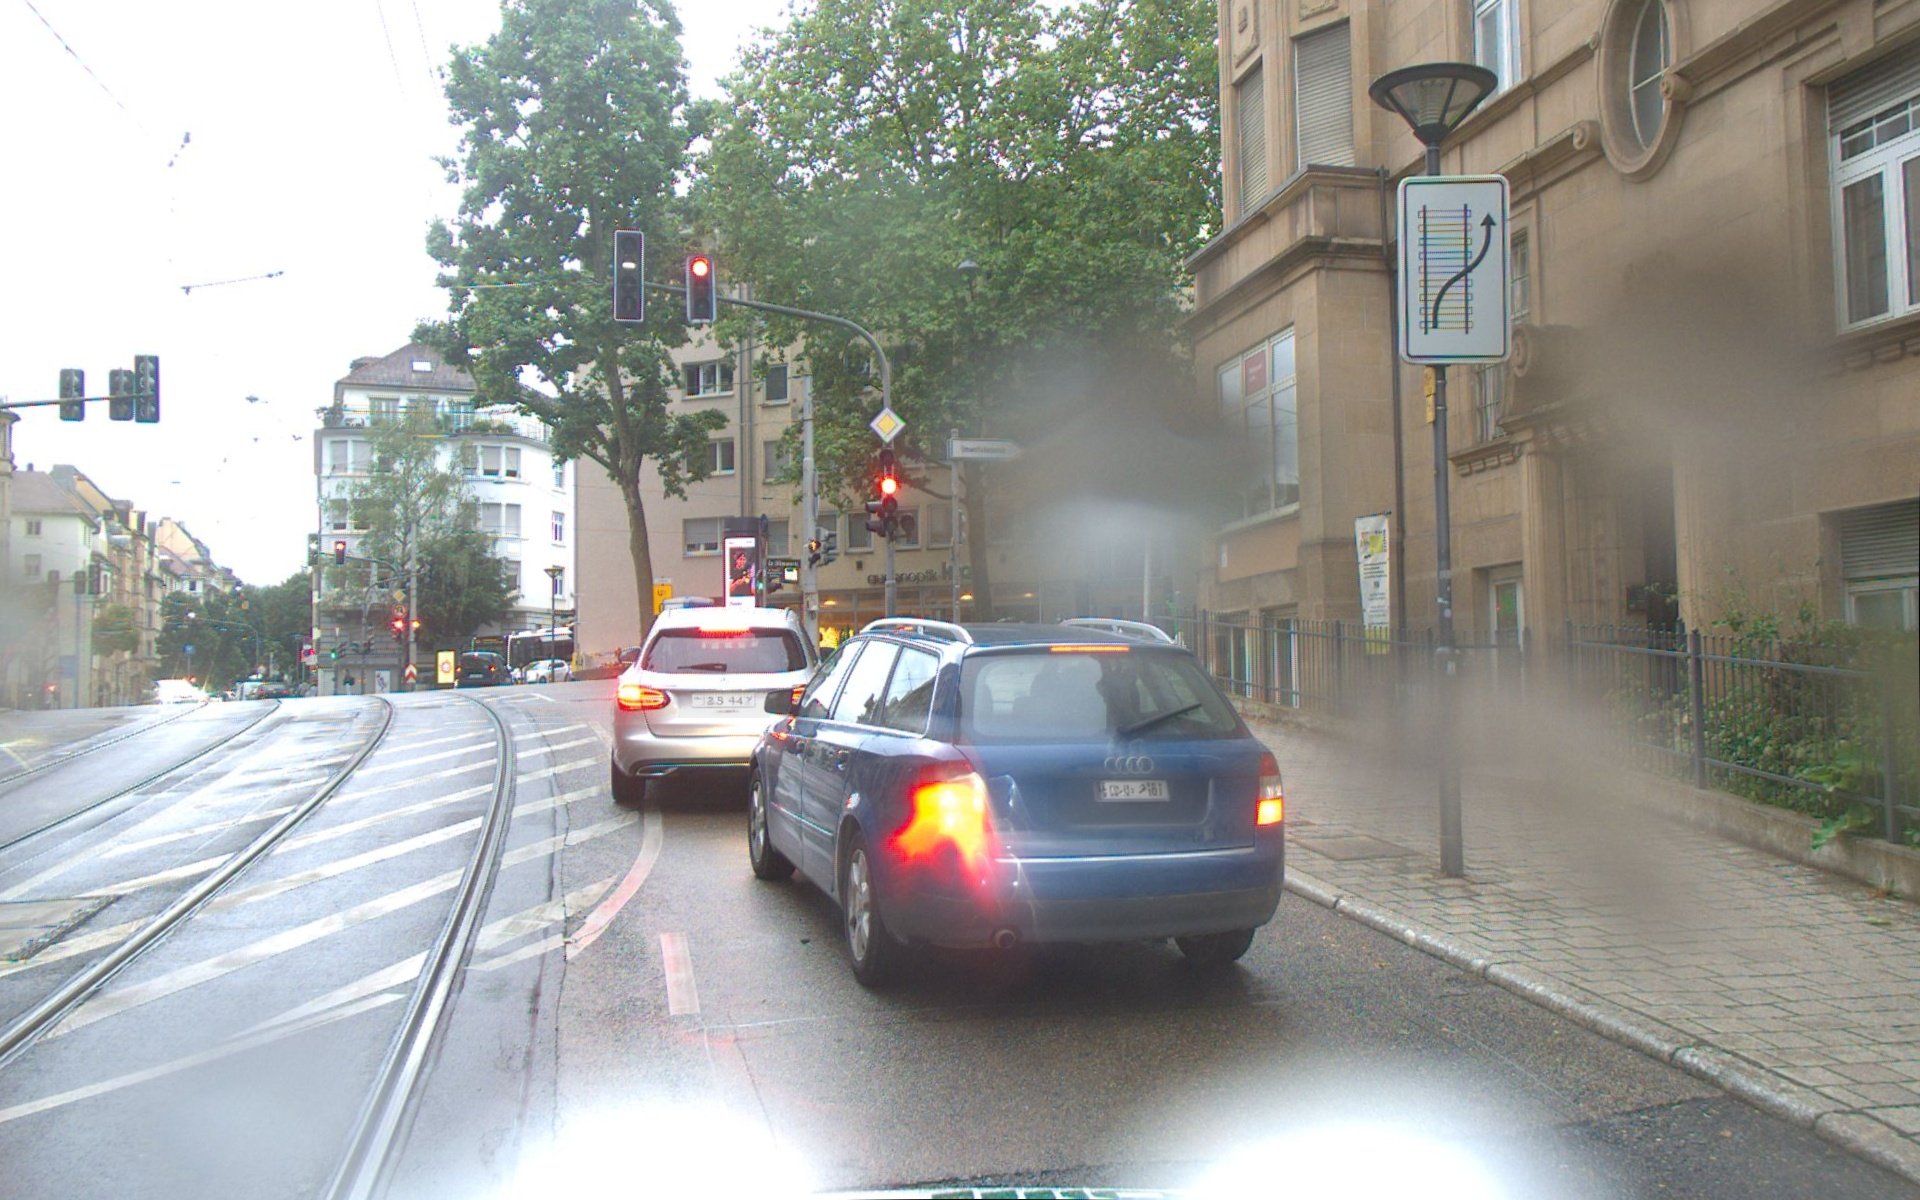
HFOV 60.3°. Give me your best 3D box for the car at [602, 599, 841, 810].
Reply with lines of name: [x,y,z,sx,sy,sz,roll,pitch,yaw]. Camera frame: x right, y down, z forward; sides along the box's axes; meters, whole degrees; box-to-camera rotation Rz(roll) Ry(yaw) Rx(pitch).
car: [-1.930,0.738,13.558,1.678,1.481,3.546,0,0,-8]

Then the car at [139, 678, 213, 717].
car: [-35.385,4.365,74.634,1.785,1.537,4.593,-1,0,-42]

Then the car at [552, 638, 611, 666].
car: [-23.390,3.223,102.310,1.756,1.536,4.002,-1,0,17]

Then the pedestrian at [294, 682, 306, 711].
pedestrian: [-39.624,5.789,99.259,0.639,1.690,0.646,0,-1,-21]

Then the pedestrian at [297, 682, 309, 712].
pedestrian: [-38.447,5.680,96.773,0.639,1.690,0.646,0,-1,-21]

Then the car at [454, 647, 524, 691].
car: [-19.418,2.812,68.331,1.758,1.536,3.999,-3,0,-2]

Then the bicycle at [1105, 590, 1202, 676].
bicycle: [2.853,0.483,24.469,1.278,1.194,0.524,-3,0,-13]

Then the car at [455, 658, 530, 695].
car: [-23.666,3.845,83.793,1.756,1.642,4.002,-1,0,17]

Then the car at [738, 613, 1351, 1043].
car: [0.096,0.804,7.900,1.683,1.440,4.017,0,0,-17]

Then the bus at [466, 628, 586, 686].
bus: [-24.689,3.204,94.573,2.793,2.911,8.740,-1,0,13]

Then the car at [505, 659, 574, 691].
car: [-22.514,4.005,88.655,1.756,1.536,4.002,-1,0,17]

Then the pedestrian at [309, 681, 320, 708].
pedestrian: [-41.619,6.084,106.691,0.639,1.690,0.646,0,-1,-21]
